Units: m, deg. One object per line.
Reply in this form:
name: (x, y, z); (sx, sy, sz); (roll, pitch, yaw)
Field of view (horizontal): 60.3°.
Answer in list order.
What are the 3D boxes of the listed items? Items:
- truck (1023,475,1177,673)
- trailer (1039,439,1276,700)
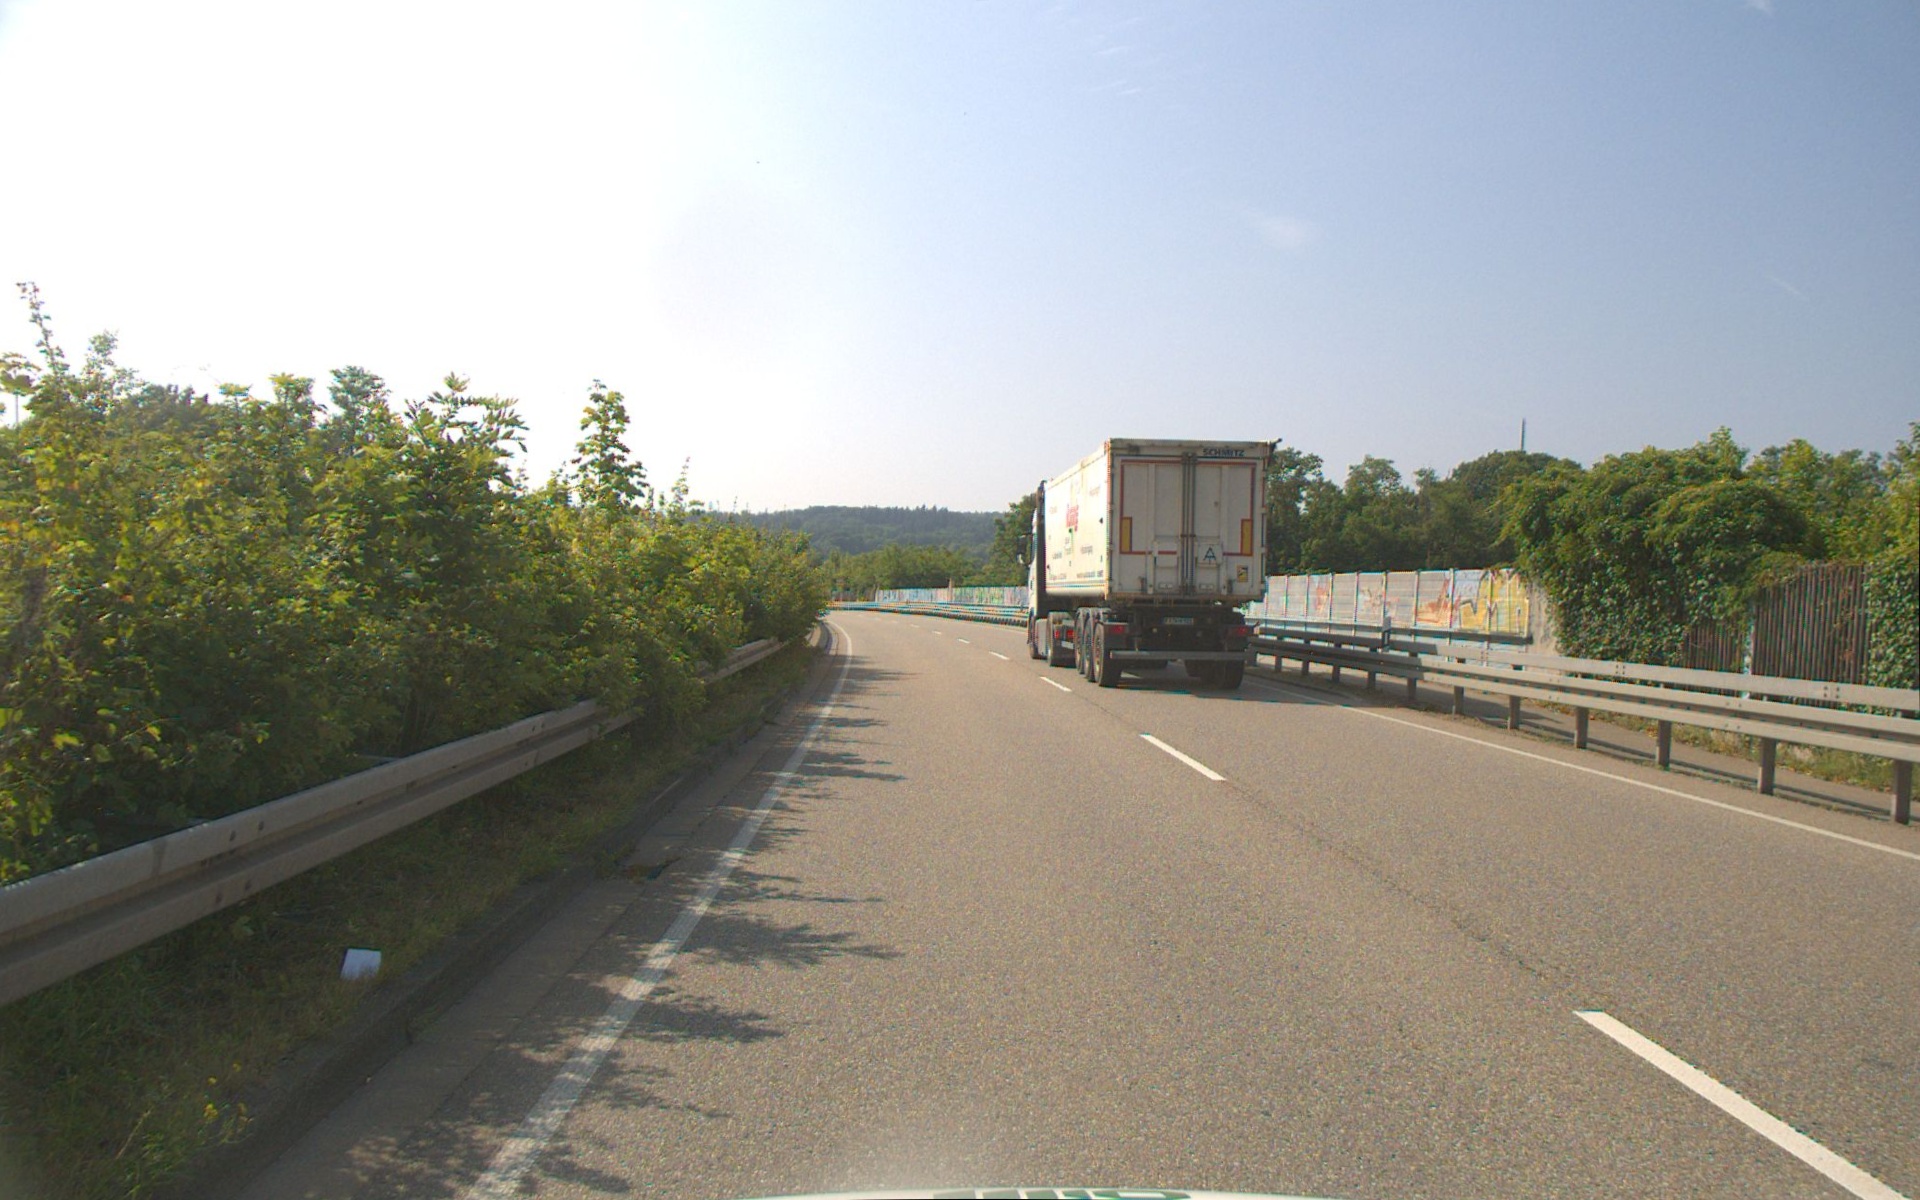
truck: (2.951, -0.564, 36.390); (2.605, 3.964, 5.645); (1, 1, -3)
trailer: (3.284, -0.509, 30.333); (2.626, 3.975, 9.666); (1, 0, -3)
